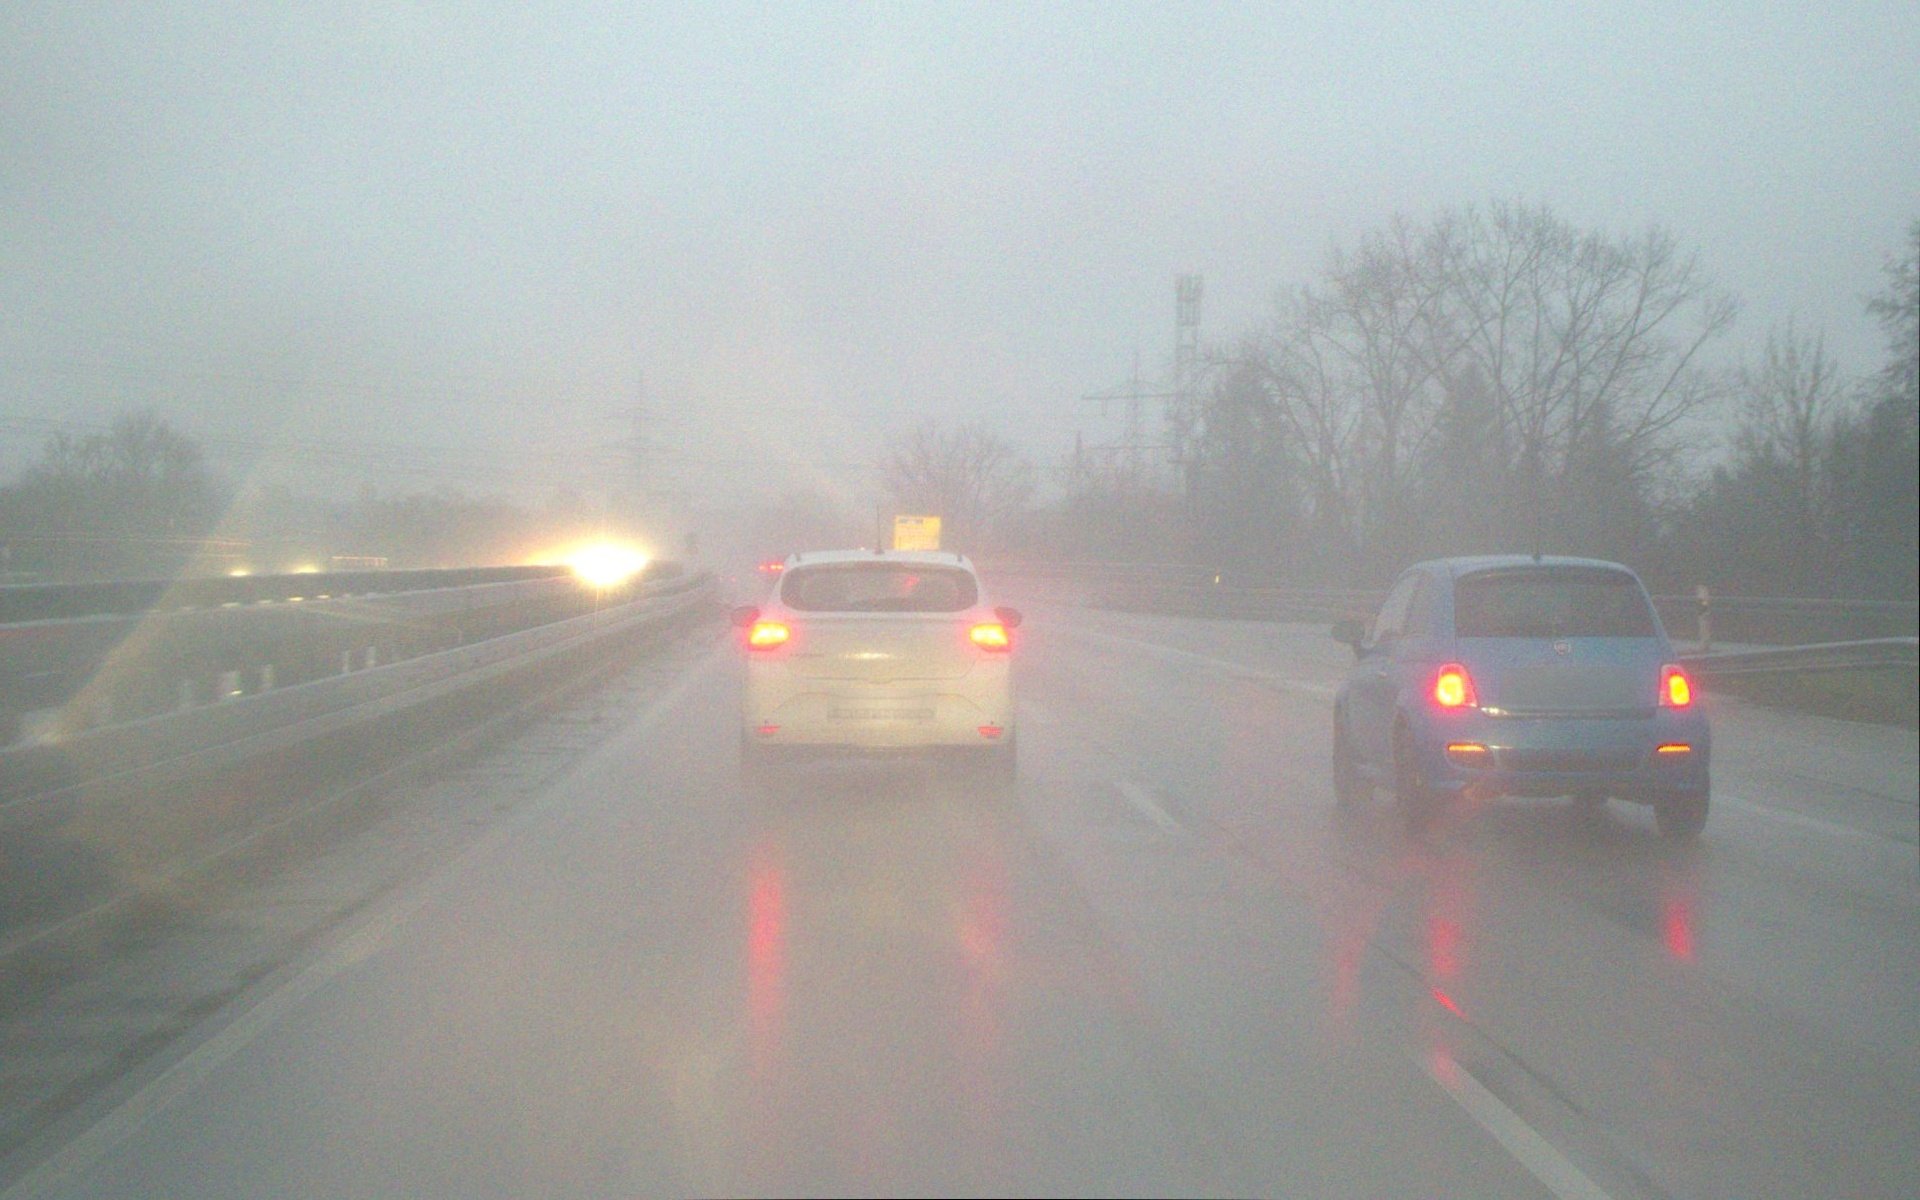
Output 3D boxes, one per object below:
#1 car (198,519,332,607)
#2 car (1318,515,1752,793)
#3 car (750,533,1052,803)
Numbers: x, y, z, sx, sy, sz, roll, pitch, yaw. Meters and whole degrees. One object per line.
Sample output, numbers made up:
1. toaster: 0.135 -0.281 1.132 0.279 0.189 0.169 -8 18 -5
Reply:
1. car: -14.817 -0.814 73.530 1.895 1.778 4.704 1 1 0
2. car: 3.249 0.234 20.221 1.845 1.448 4.149 1 1 0
3. car: -0.379 0.385 23.128 1.845 1.630 3.768 1 1 0
